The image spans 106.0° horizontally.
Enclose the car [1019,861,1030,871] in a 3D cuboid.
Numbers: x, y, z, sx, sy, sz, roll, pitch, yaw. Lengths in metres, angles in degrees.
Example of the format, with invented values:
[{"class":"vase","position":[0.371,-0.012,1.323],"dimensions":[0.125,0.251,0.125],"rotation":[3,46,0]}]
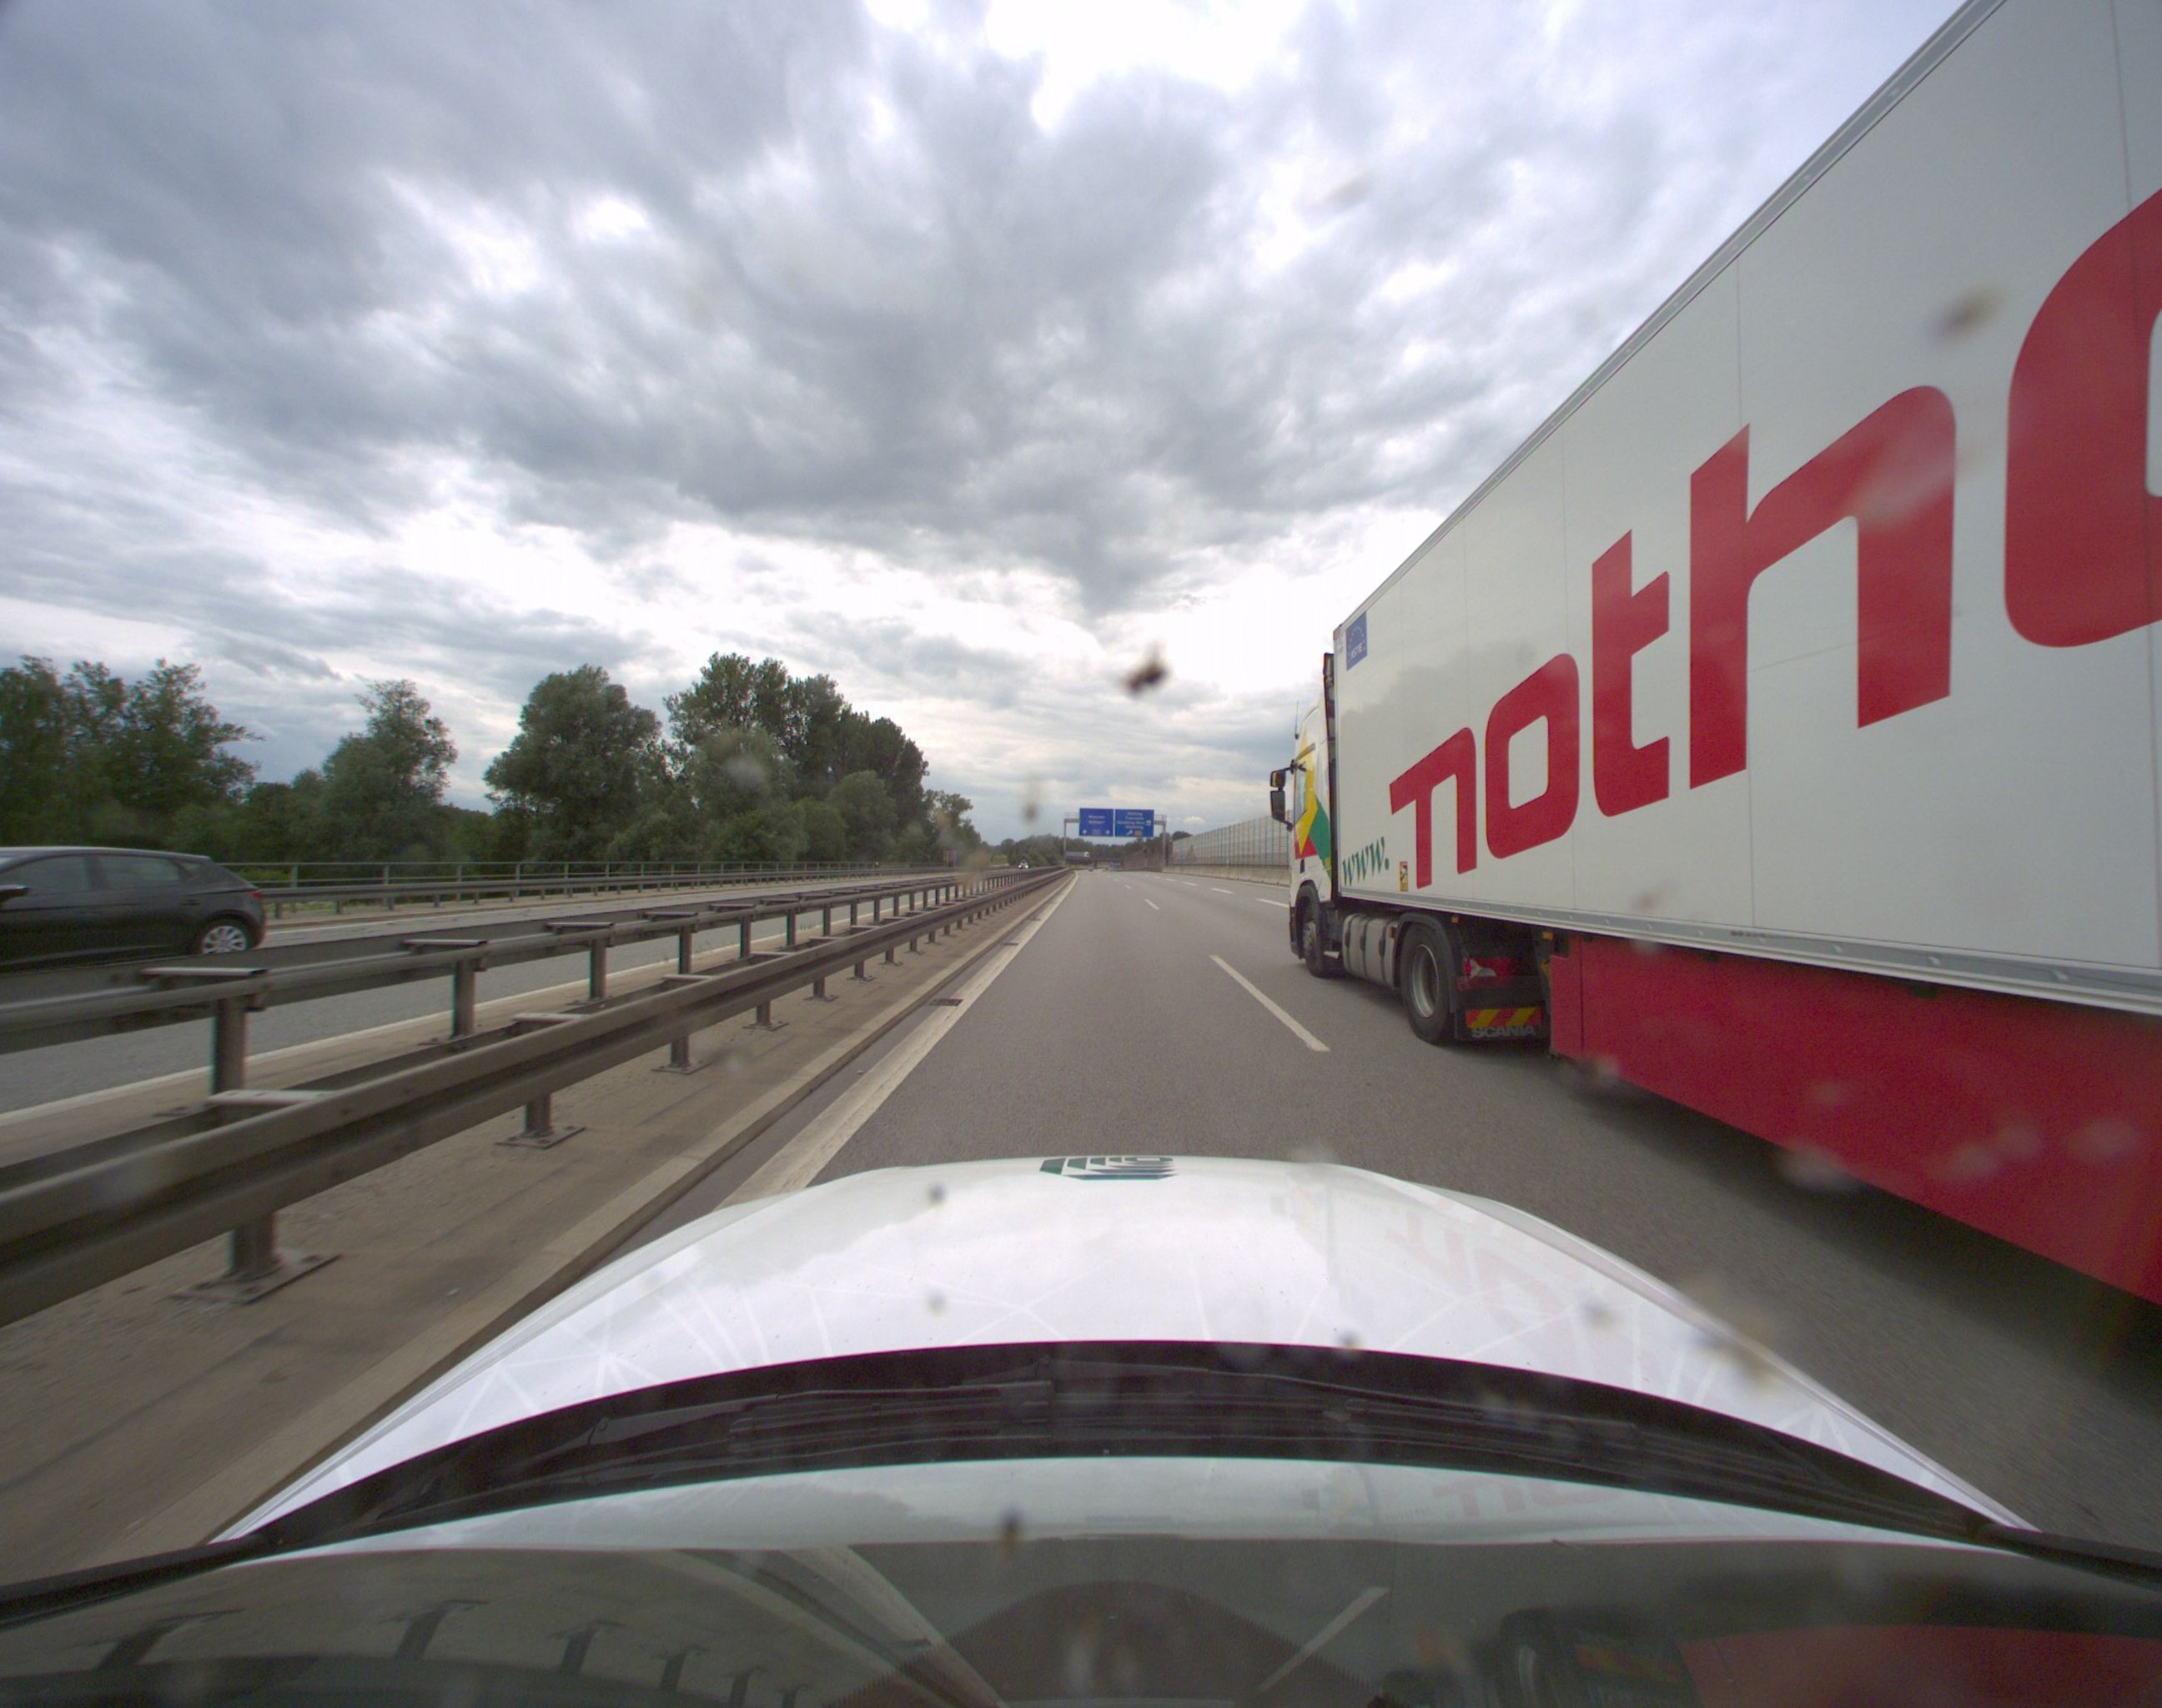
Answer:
[{"class":"car","position":[-11.843,2.527,170.620],"dimensions":[1.988,2.003,4.740],"rotation":[0,-2,-2]}]

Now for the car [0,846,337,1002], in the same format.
[{"class":"car","position":[-10.742,0.657,8.257],"dimensions":[1.962,1.404,4.711],"rotation":[-1,0,2]}]

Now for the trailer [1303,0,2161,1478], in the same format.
[{"class":"trailer","position":[3.861,-0.674,2.743],"dimensions":[2.782,4.175,14.108],"rotation":[0,0,2]}]

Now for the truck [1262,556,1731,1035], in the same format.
[{"class":"truck","position":[4.074,-0.468,9.615],"dimensions":[2.745,3.960,5.679],"rotation":[0,-1,2]}]
